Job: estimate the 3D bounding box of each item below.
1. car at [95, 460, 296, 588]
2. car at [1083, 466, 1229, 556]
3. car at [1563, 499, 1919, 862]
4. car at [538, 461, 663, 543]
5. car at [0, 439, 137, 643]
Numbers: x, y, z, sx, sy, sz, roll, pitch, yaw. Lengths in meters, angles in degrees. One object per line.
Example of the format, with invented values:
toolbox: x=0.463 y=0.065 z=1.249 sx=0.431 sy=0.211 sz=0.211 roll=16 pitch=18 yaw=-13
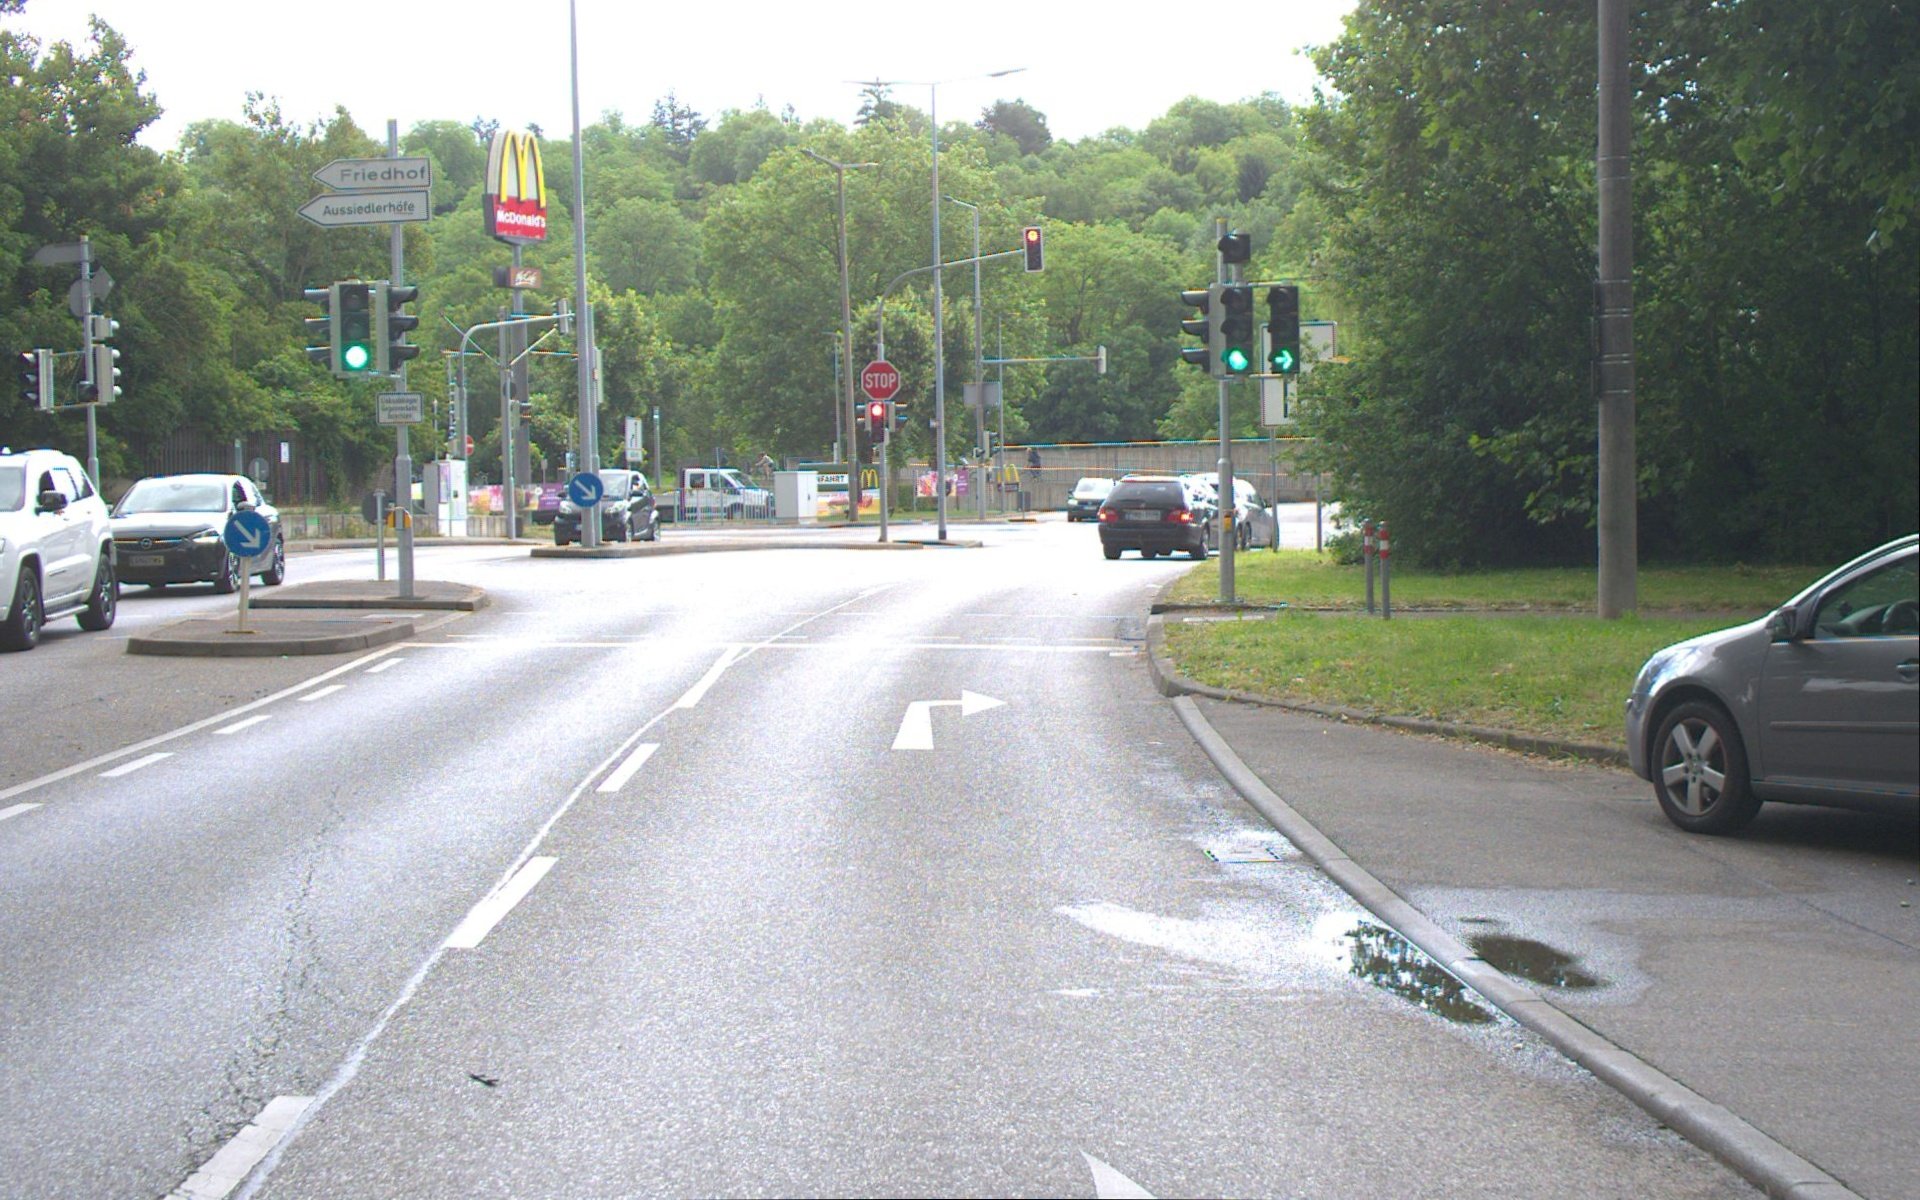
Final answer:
car: x=-9.373 y=-0.976 z=42.403 sx=1.568 sy=1.377 sz=3.950 roll=-2 pitch=3 yaw=0
car: x=3.525 y=-1.591 z=61.156 sx=1.823 sy=1.504 sz=4.572 roll=-1 pitch=2 yaw=13
car: x=4.584 y=0.328 z=14.655 sx=1.728 sy=1.424 sz=4.113 roll=-2 pitch=3 yaw=-30
car: x=-7.093 y=-1.953 z=68.069 sx=1.569 sy=1.521 sz=3.188 roll=-1 pitch=3 yaw=11
car: x=-9.235 y=-0.590 z=32.138 sx=1.911 sy=1.757 sz=4.753 roll=-1 pitch=2 yaw=0
